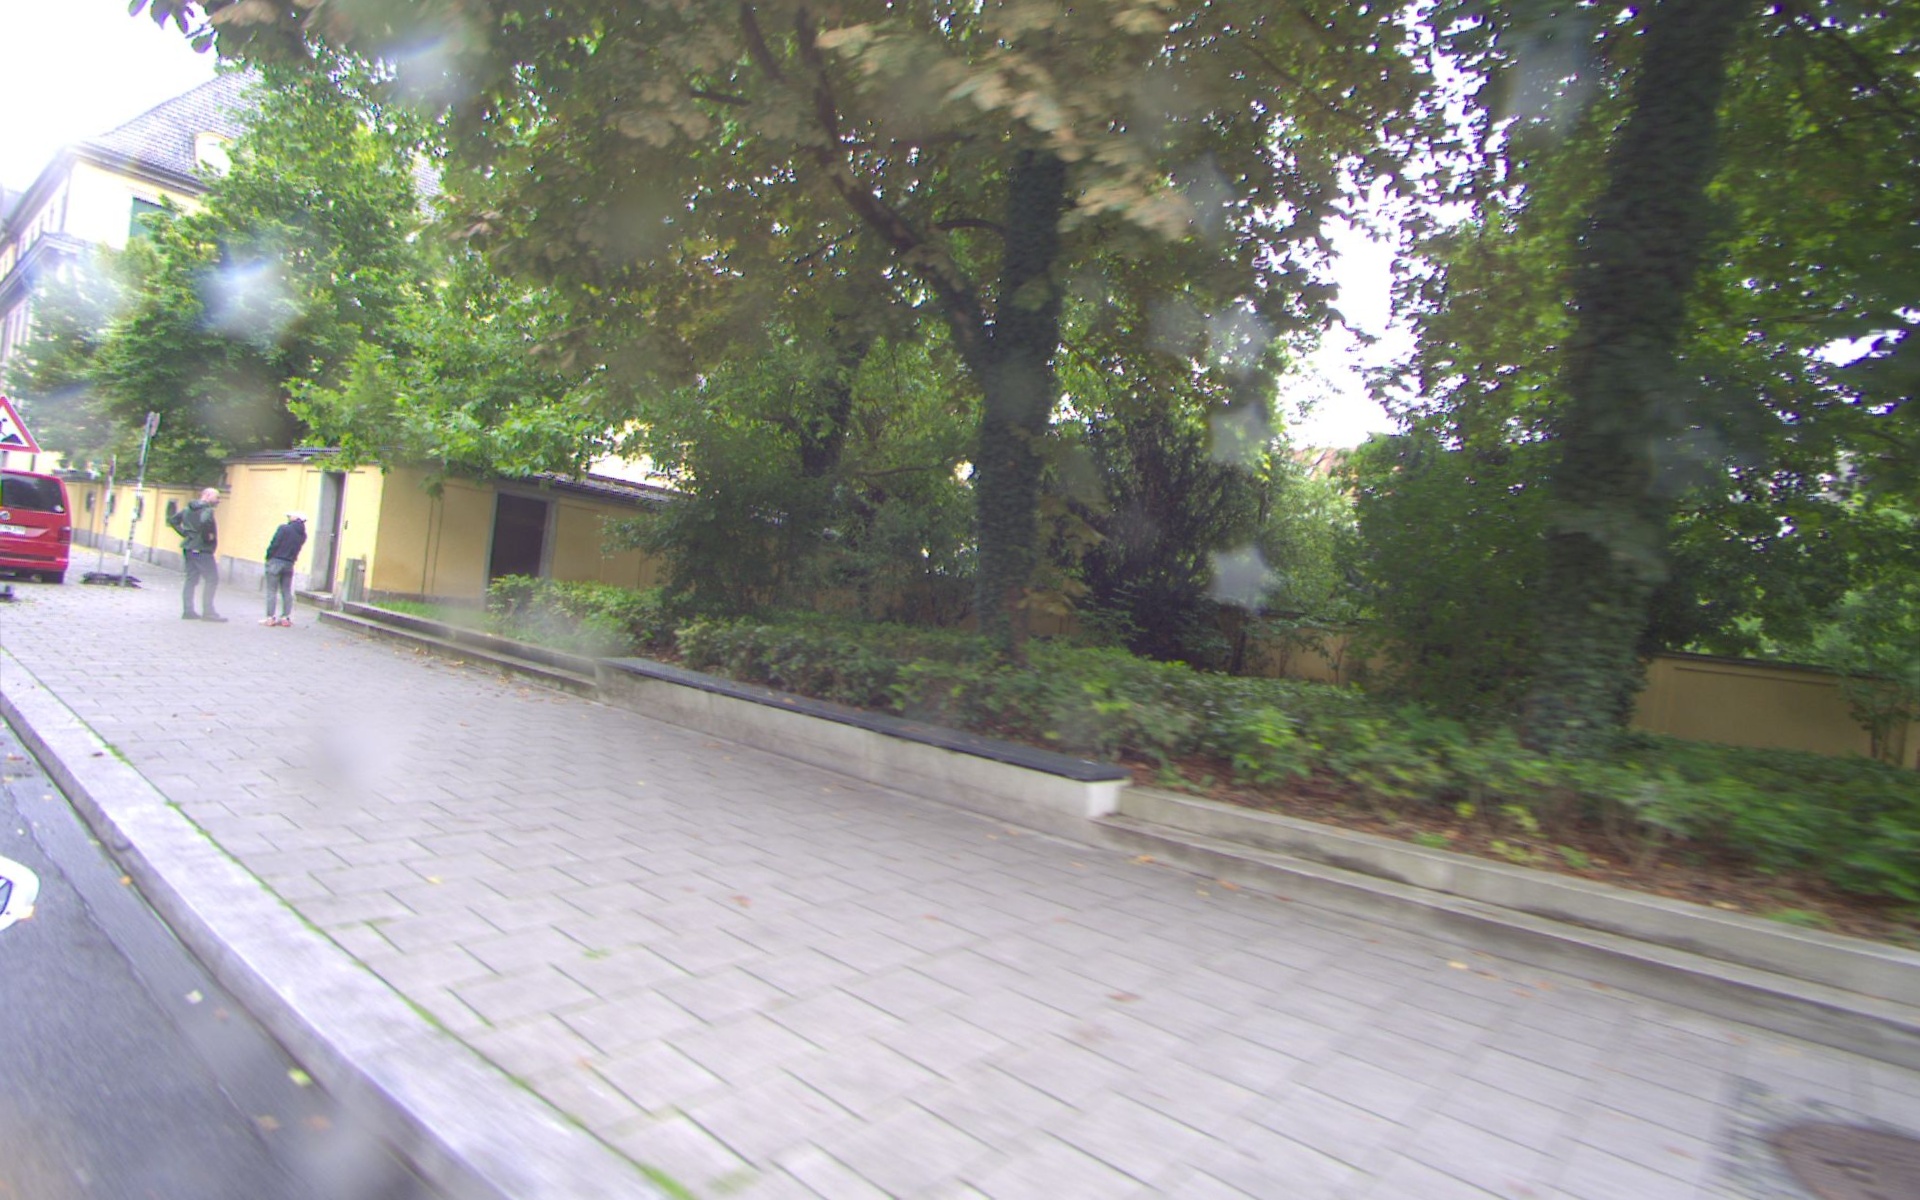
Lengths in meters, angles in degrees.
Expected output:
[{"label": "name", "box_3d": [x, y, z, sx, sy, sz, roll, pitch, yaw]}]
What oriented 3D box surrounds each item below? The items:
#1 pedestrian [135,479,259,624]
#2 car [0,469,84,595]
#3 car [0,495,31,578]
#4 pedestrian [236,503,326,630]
[{"label": "pedestrian", "box_3d": [-10.541, -0.651, 13.926, 0.934, 1.859, 0.822, 7, 1, 14]}, {"label": "car", "box_3d": [-17.569, -1.359, 17.995, 4.896, 1.960, 1.910, 6, -1, 39]}, {"label": "car", "box_3d": [-21.647, -1.542, 21.528, 4.499, 1.654, 1.991, 6, 0, 40]}, {"label": "pedestrian", "box_3d": [-9.615, -0.462, 14.252, 0.684, 1.688, 0.635, 7, 1, 19]}]
